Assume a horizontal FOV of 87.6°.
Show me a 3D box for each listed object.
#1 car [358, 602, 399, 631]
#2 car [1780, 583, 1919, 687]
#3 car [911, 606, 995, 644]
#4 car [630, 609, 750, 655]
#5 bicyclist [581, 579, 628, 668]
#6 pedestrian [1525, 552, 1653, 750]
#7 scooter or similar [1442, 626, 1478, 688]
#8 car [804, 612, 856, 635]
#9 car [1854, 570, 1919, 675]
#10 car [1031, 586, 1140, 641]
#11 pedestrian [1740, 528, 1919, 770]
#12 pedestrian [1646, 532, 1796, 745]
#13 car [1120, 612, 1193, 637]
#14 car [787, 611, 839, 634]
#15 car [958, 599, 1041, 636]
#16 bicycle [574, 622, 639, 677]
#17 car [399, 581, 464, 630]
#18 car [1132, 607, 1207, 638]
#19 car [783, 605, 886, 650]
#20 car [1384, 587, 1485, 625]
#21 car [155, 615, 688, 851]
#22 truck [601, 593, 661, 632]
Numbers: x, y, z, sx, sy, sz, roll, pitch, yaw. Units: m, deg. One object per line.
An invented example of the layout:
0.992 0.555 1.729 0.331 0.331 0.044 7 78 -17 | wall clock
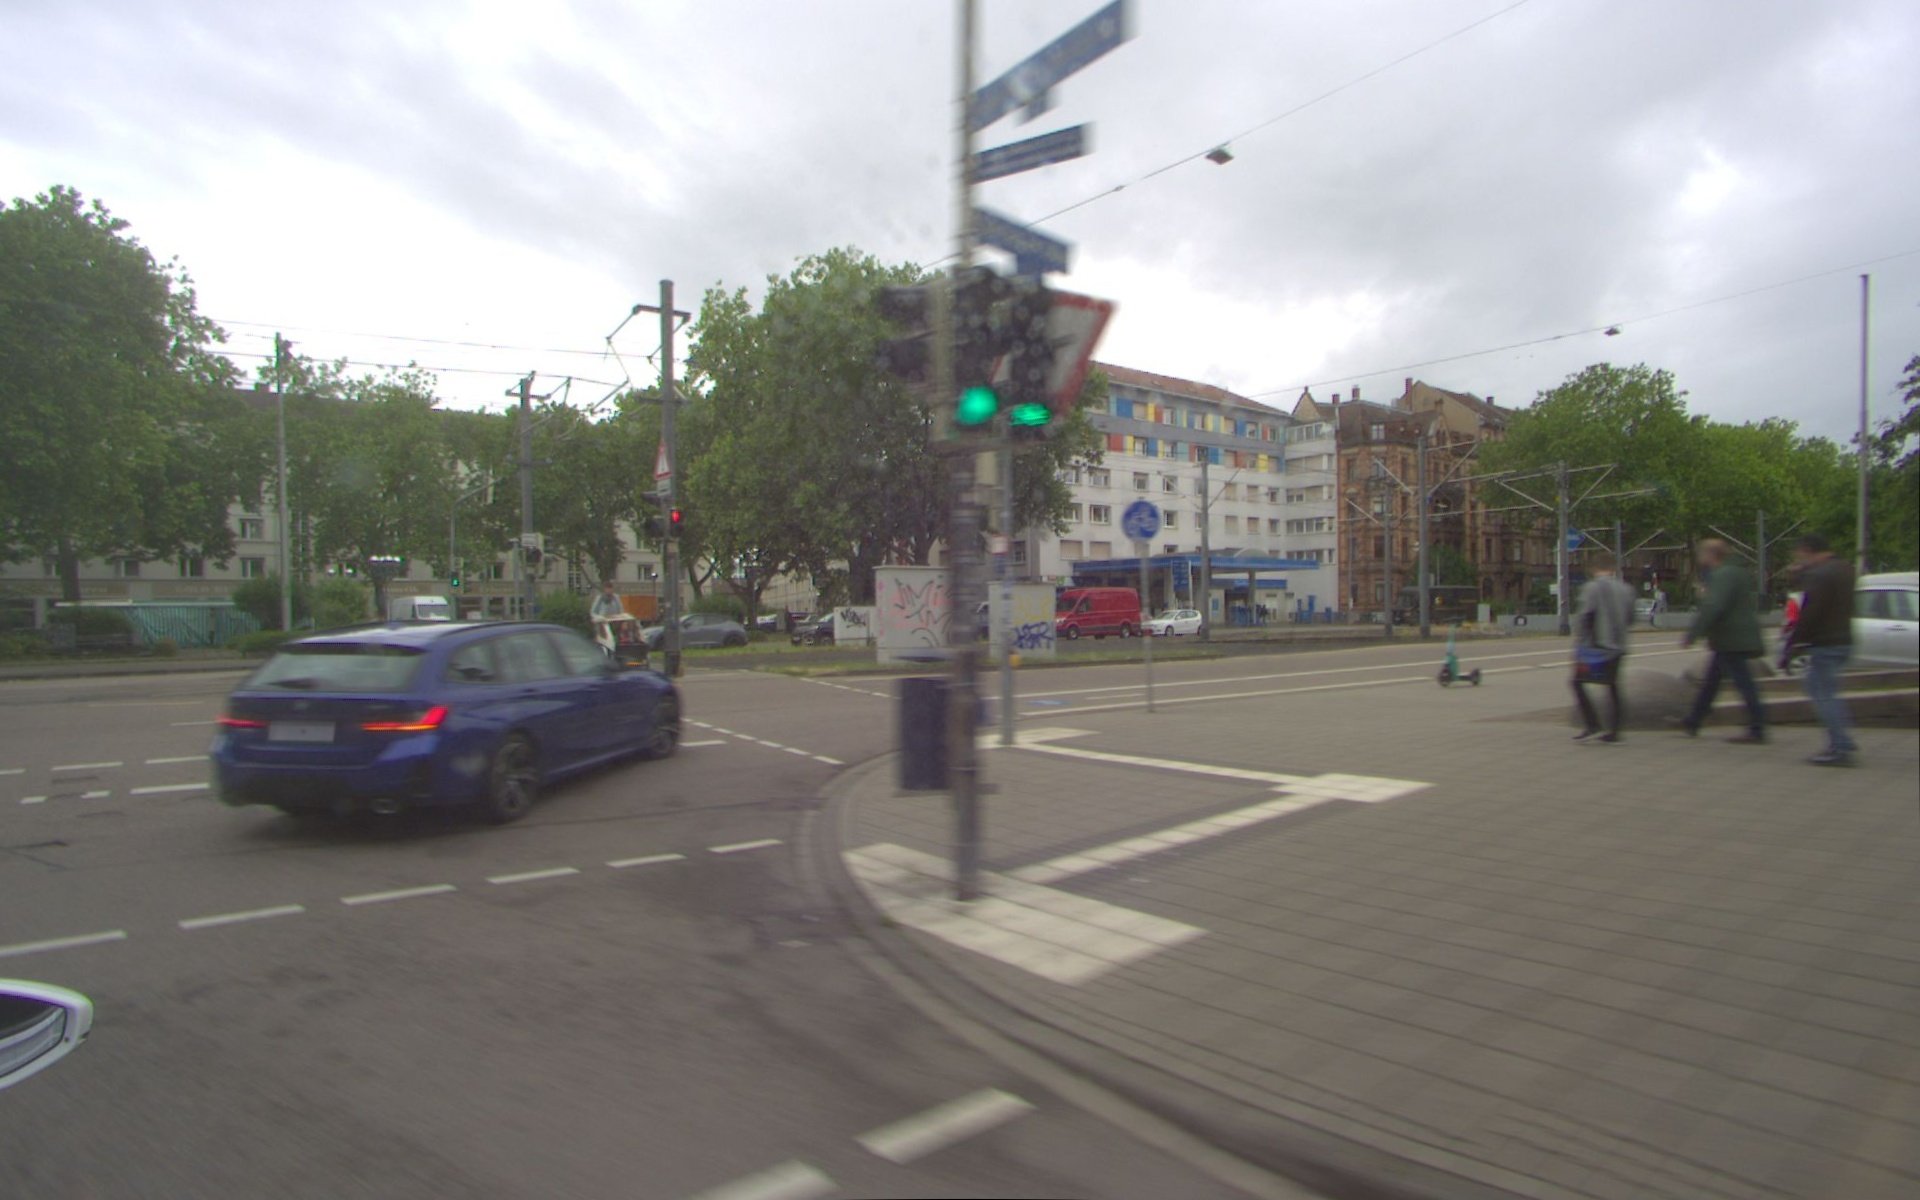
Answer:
-31.901 0.886 54.868 1.648 1.535 3.912 -1 0 -34 | car
14.927 0.510 15.275 1.597 1.550 3.445 -1 -1 -35 | car
-0.302 1.100 44.267 3.426 1.582 1.674 -1 0 -38 | car
-9.961 1.152 37.107 3.942 1.582 1.674 -1 0 -38 | car
-6.835 0.443 19.259 0.609 1.676 0.748 -1 0 -40 | bicyclist
5.728 0.434 9.119 0.956 1.696 0.630 0 3 36 | pedestrian
8.923 1.003 17.874 0.763 1.067 0.238 -1 0 -36 | scooter or similar
-9.869 1.806 76.212 3.772 1.644 1.500 -1 0 -41 | car
17.736 0.372 17.070 1.665 1.816 3.445 -1 0 -35 | car
6.228 0.633 49.284 5.544 2.572 1.977 -1 0 -38 | car
6.563 0.344 7.563 0.954 1.709 0.673 0 3 29 | pedestrian
6.772 0.318 8.970 0.954 1.783 0.803 0 2 29 | pedestrian
11.260 1.394 57.575 1.714 1.390 4.068 0 -1 -37 | car
-11.463 1.743 78.151 3.772 1.644 1.500 -1 0 -41 | car
2.439 1.067 61.152 5.027 2.123 1.977 -1 0 -38 | car
-6.825 0.927 19.257 0.546 1.009 2.045 -1 0 -38 | bicycle
-30.254 0.336 57.204 2.217 2.674 5.401 -1 0 -40 | car
11.200 1.204 53.503 4.100 1.550 1.674 -1 0 -38 | car
-5.104 1.097 41.034 3.903 1.734 1.674 -1 0 -38 | car
36.493 0.486 77.108 6.972 2.764 2.246 -1 -1 -9 | car
-4.025 0.871 8.484 1.786 1.424 4.319 -1 0 7 | car
-22.889 0.902 69.610 3.957 2.625 2.367 -1 0 43 | truck
